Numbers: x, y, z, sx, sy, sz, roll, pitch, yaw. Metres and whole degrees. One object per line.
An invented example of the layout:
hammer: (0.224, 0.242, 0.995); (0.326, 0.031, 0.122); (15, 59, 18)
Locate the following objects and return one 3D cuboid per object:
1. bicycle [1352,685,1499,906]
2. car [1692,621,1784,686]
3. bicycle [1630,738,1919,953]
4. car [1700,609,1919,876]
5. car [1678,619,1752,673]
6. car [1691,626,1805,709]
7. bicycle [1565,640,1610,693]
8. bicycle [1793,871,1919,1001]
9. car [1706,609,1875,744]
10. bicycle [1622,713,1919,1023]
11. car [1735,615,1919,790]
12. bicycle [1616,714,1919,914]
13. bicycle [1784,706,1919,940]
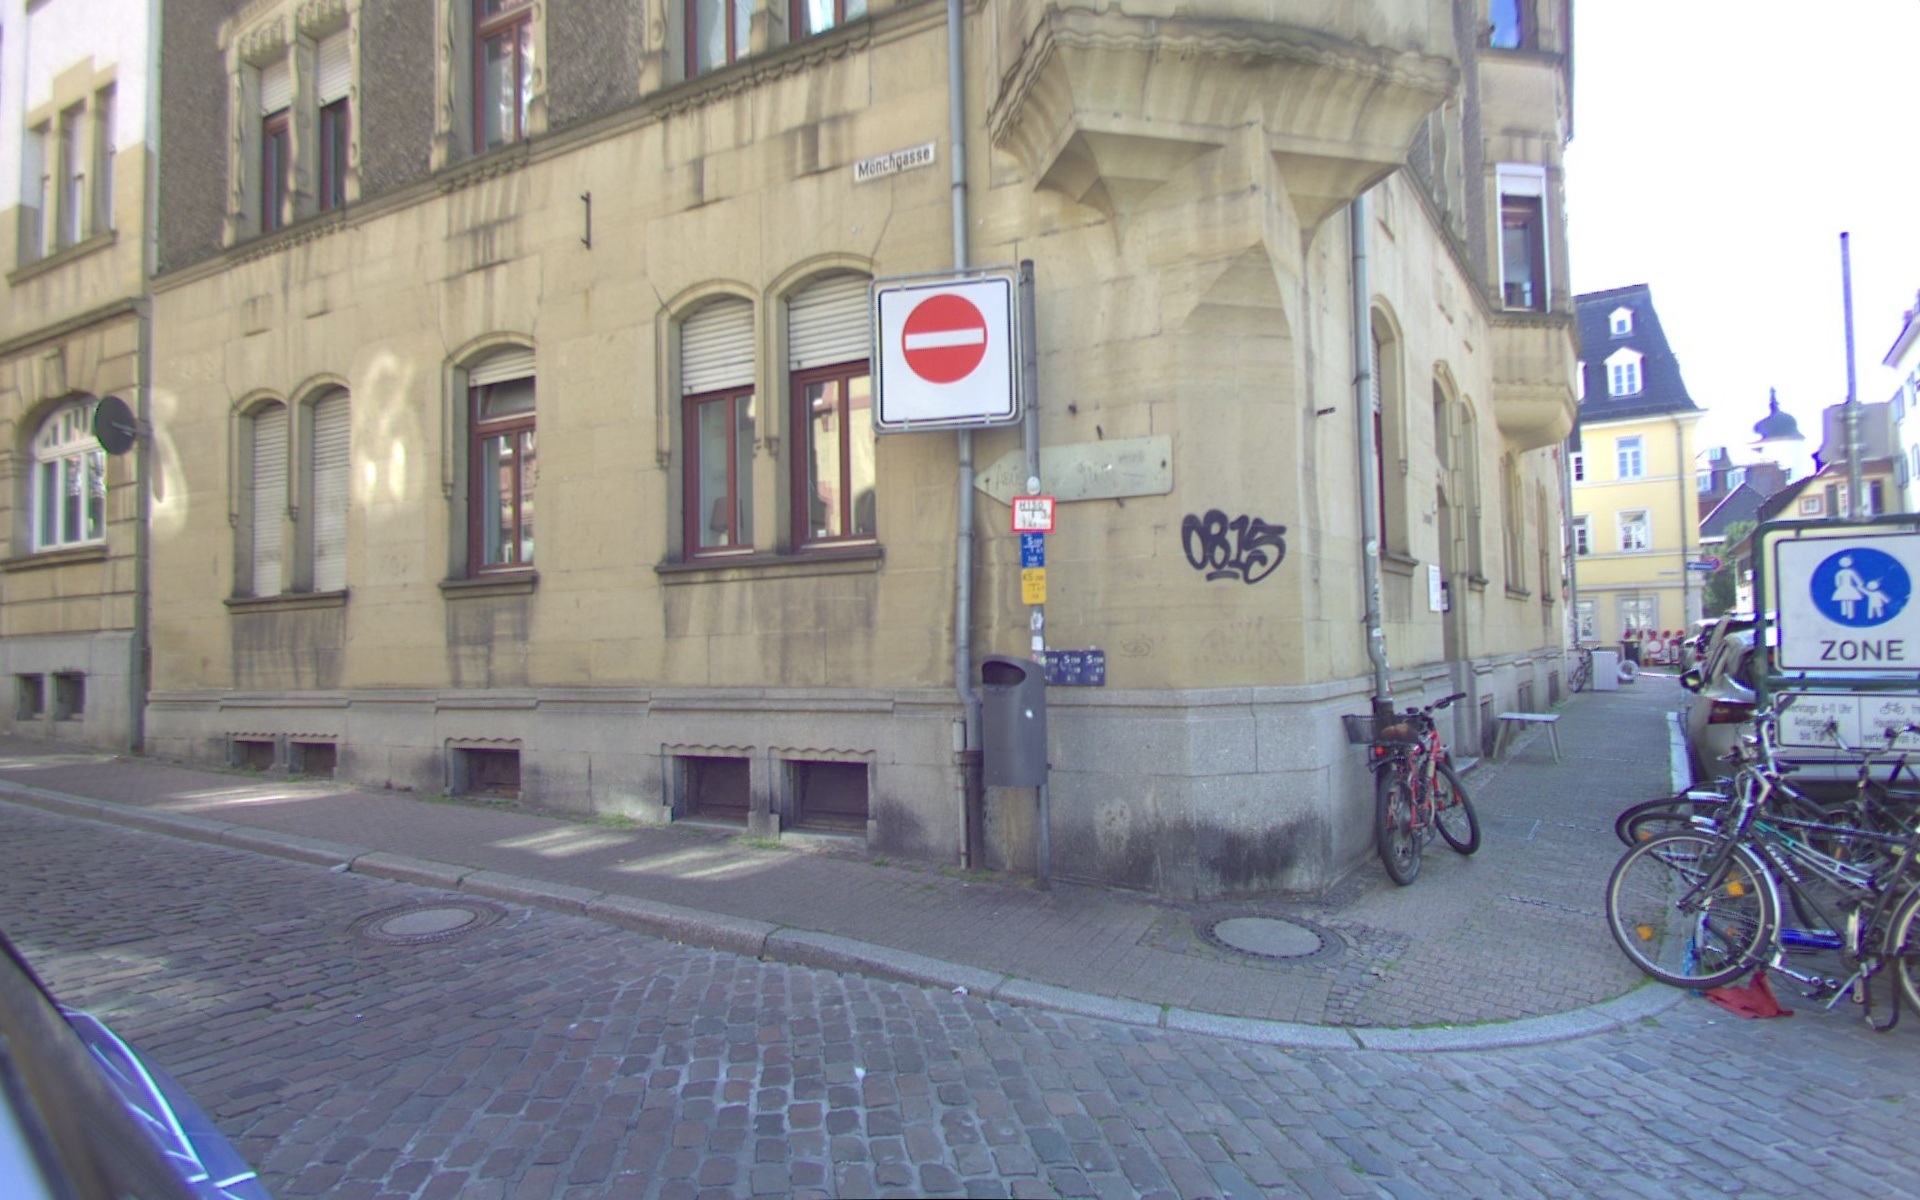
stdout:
bicycle: (2.912, 1.118, 6.250); (0.495, 1.094, 1.622); (2, -1, 36)
car: (19.441, 1.278, 25.397); (1.660, 1.454, 4.020); (-2, -1, 36)
bicycle: (3.996, 1.102, 4.460); (1.633, 1.081, 0.287); (-2, 41, 26)
car: (6.720, 0.878, 7.499); (1.848, 1.556, 3.881); (-3, -3, 35)
car: (22.615, 1.340, 30.364); (1.660, 1.454, 3.813); (-2, -1, 36)
car: (15.964, 1.305, 20.637); (1.660, 1.454, 3.813); (-2, -1, 36)
bicycle: (14.020, 1.471, 22.598); (0.483, 1.107, 1.582); (-3, -3, 45)
bicycle: (4.354, 1.459, 4.260); (1.061, 0.290, 1.126); (1, -3, -40)
car: (11.714, 0.979, 14.484); (1.565, 1.648, 3.814); (-2, -1, 36)
bicycle: (3.610, 1.036, 3.954); (0.281, 1.094, 1.645); (-3, -1, -39)
car: (9.713, 0.976, 11.067); (1.849, 1.556, 3.950); (-2, -1, 37)
bicycle: (4.214, 1.047, 4.904); (1.633, 1.081, 0.287); (-2, 41, 26)
bicycle: (5.128, 1.065, 4.986); (1.624, 1.094, 0.285); (-4, -5, 9)
